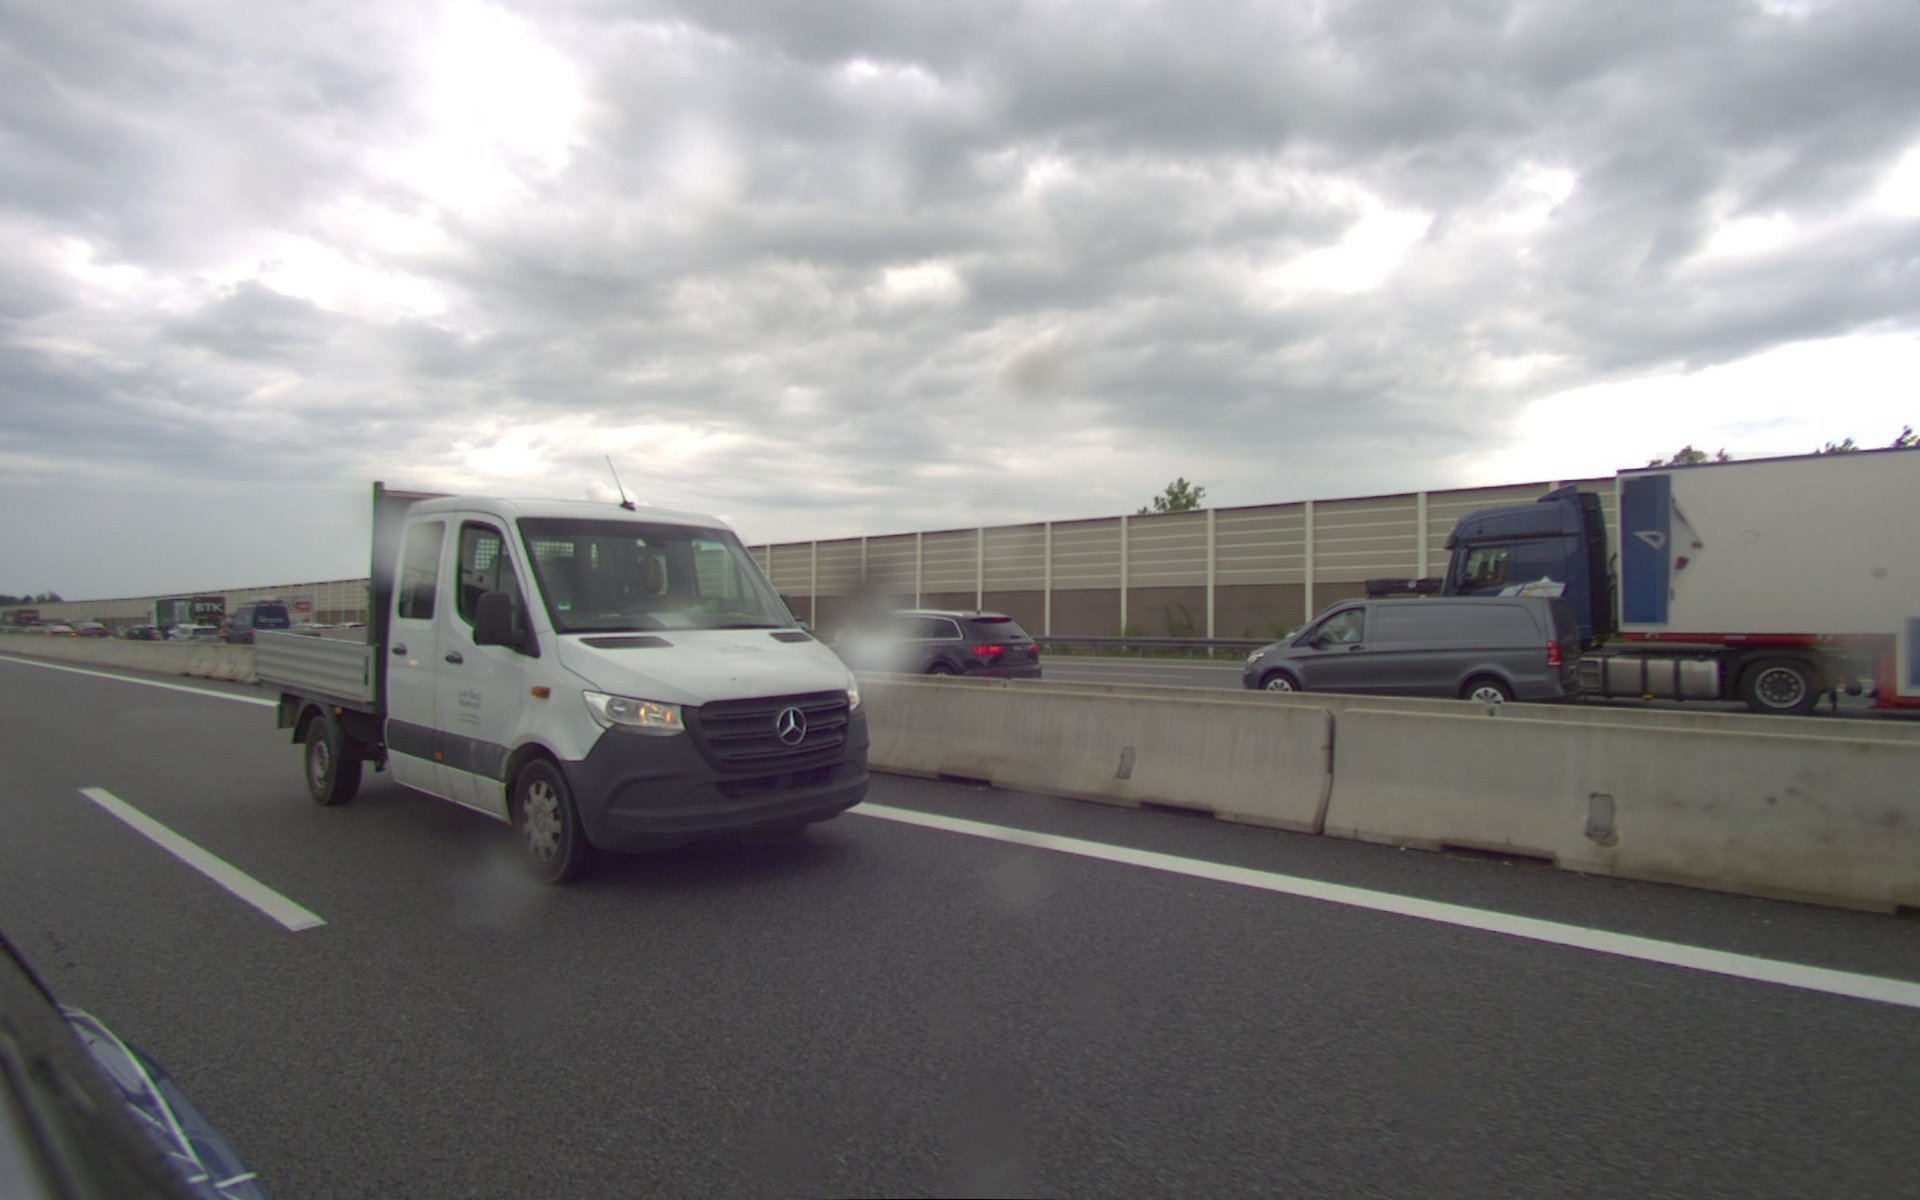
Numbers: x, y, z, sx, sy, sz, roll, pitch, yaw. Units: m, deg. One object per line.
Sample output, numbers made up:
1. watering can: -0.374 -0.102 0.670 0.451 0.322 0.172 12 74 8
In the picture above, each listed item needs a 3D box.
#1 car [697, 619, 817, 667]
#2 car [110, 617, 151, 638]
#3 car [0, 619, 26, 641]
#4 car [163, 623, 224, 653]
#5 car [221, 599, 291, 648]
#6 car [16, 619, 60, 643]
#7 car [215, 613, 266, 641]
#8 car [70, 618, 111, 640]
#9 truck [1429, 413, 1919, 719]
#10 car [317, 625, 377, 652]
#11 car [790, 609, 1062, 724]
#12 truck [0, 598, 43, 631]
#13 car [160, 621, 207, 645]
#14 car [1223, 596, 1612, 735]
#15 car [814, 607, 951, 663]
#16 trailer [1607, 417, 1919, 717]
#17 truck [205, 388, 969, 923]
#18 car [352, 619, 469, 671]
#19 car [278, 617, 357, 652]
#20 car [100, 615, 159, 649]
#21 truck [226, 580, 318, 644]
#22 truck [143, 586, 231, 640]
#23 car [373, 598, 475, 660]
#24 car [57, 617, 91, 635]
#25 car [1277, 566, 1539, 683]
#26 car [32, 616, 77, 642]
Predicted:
1. car: -6.872 1.415 34.040 4.358 1.516 1.554 -1 -1 39
2. car: -78.992 2.592 96.355 4.929 1.950 2.094 -1 -1 40
3. car: -88.436 2.751 93.805 4.929 1.950 2.094 -1 -1 40
4. car: -40.772 1.979 53.798 4.358 1.516 1.621 -1 -1 39
5. car: -41.342 1.360 59.367 4.927 2.770 2.106 -1 -1 39
6. car: -78.037 2.590 85.632 4.929 1.950 2.094 -1 -1 40
7. car: -53.148 1.972 74.761 4.929 1.950 1.922 -1 -1 40
8. car: -79.861 2.606 92.888 4.929 1.950 2.094 -1 -1 40
9. truck: 12.073 -0.417 17.383 6.690 4.277 3.039 -1 -1 41
10. car: -43.831 2.718 72.338 4.927 1.882 2.106 -1 -1 39
11. car: -0.796 1.162 19.383 5.425 1.905 1.899 -1 -1 42
12. truck: -150.558 2.383 161.638 17.212 5.097 3.667 -1 -1 40
13. car: -64.767 2.722 84.362 4.929 1.950 2.094 -1 -1 40
14. car: 7.230 0.947 16.469 5.431 1.912 1.913 -1 -1 42
15. car: -2.788 1.190 35.557 4.973 1.832 1.789 -1 -1 39
16. trailer: 16.984 -0.512 12.989 14.311 4.192 3.026 -1 -1 42
17. truck: -3.413 0.302 7.829 7.141 2.458 2.284 -1 -1 40
18. car: -18.778 1.486 34.506 4.691 1.644 1.901 -1 -1 39
19. car: -33.099 1.752 52.068 4.930 1.720 2.105 -1 -1 41
20. car: -50.723 1.929 61.806 4.929 1.950 1.922 -1 -1 40
21. truck: -55.954 1.011 82.141 11.690 4.894 3.184 -1 -1 40
22. truck: -76.621 1.345 100.096 17.217 4.894 3.404 -1 -1 41
23. car: -23.036 1.221 43.414 5.144 2.492 2.006 -1 -1 39
24. car: -98.089 2.914 112.024 4.929 1.950 2.094 -1 -1 40
25. car: 10.620 0.572 24.329 5.431 2.523 1.913 -1 -1 42
26. car: -69.759 2.244 77.938 4.929 1.950 1.922 -1 -1 40
